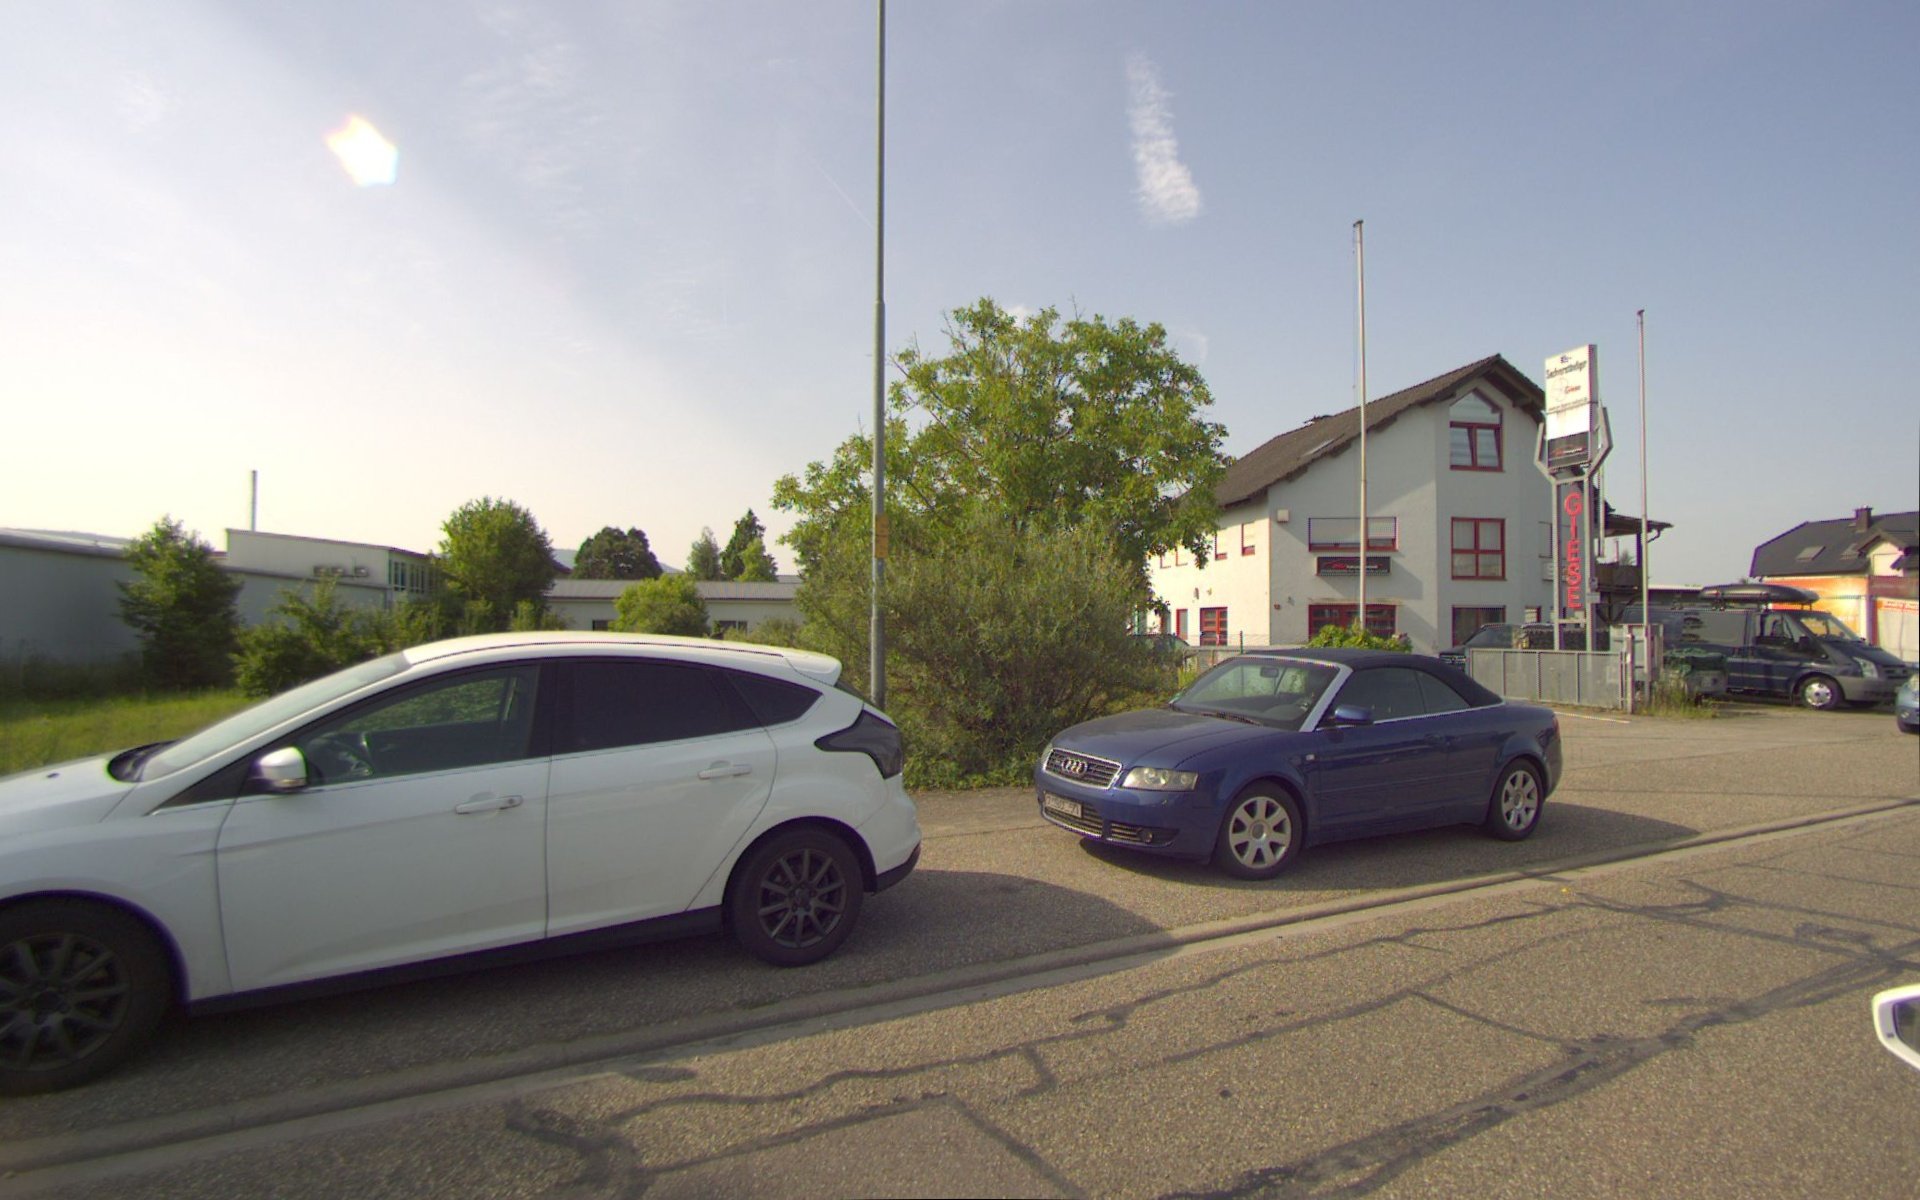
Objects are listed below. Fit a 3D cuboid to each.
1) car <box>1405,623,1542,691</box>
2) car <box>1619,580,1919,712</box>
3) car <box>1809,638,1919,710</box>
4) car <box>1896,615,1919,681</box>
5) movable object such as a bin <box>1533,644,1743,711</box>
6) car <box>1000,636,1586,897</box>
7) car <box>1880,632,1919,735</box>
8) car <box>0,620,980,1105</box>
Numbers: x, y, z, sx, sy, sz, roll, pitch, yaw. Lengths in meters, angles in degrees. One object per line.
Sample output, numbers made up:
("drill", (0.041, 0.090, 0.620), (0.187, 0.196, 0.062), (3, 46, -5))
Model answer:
("car", (13.561, 1.473, 26.504), (3.431, 1.683, 1.540), (1, -2, -28))
("car", (16.858, 0.946, 21.161), (1.974, 2.448, 4.612), (1, -2, -26))
("car", (20.675, 1.587, 21.438), (1.742, 1.433, 3.568), (1, -1, -32))
("car", (39.238, 1.837, 38.372), (2.106, 2.619, 4.813), (0, -3, -8))
("movable object such as a bin", (14.196, 1.574, 21.222), (1.735, 1.162, 3.319), (1, -1, -20))
("car", (2.553, 1.004, 7.385), (4.317, 1.406, 1.626), (1, -1, -30))
("car", (16.237, 1.311, 15.667), (3.558, 1.537, 1.627), (1, -1, -27))
("car", (-2.143, 0.872, 4.604), (4.202, 1.489, 1.676), (1, -1, -29))
